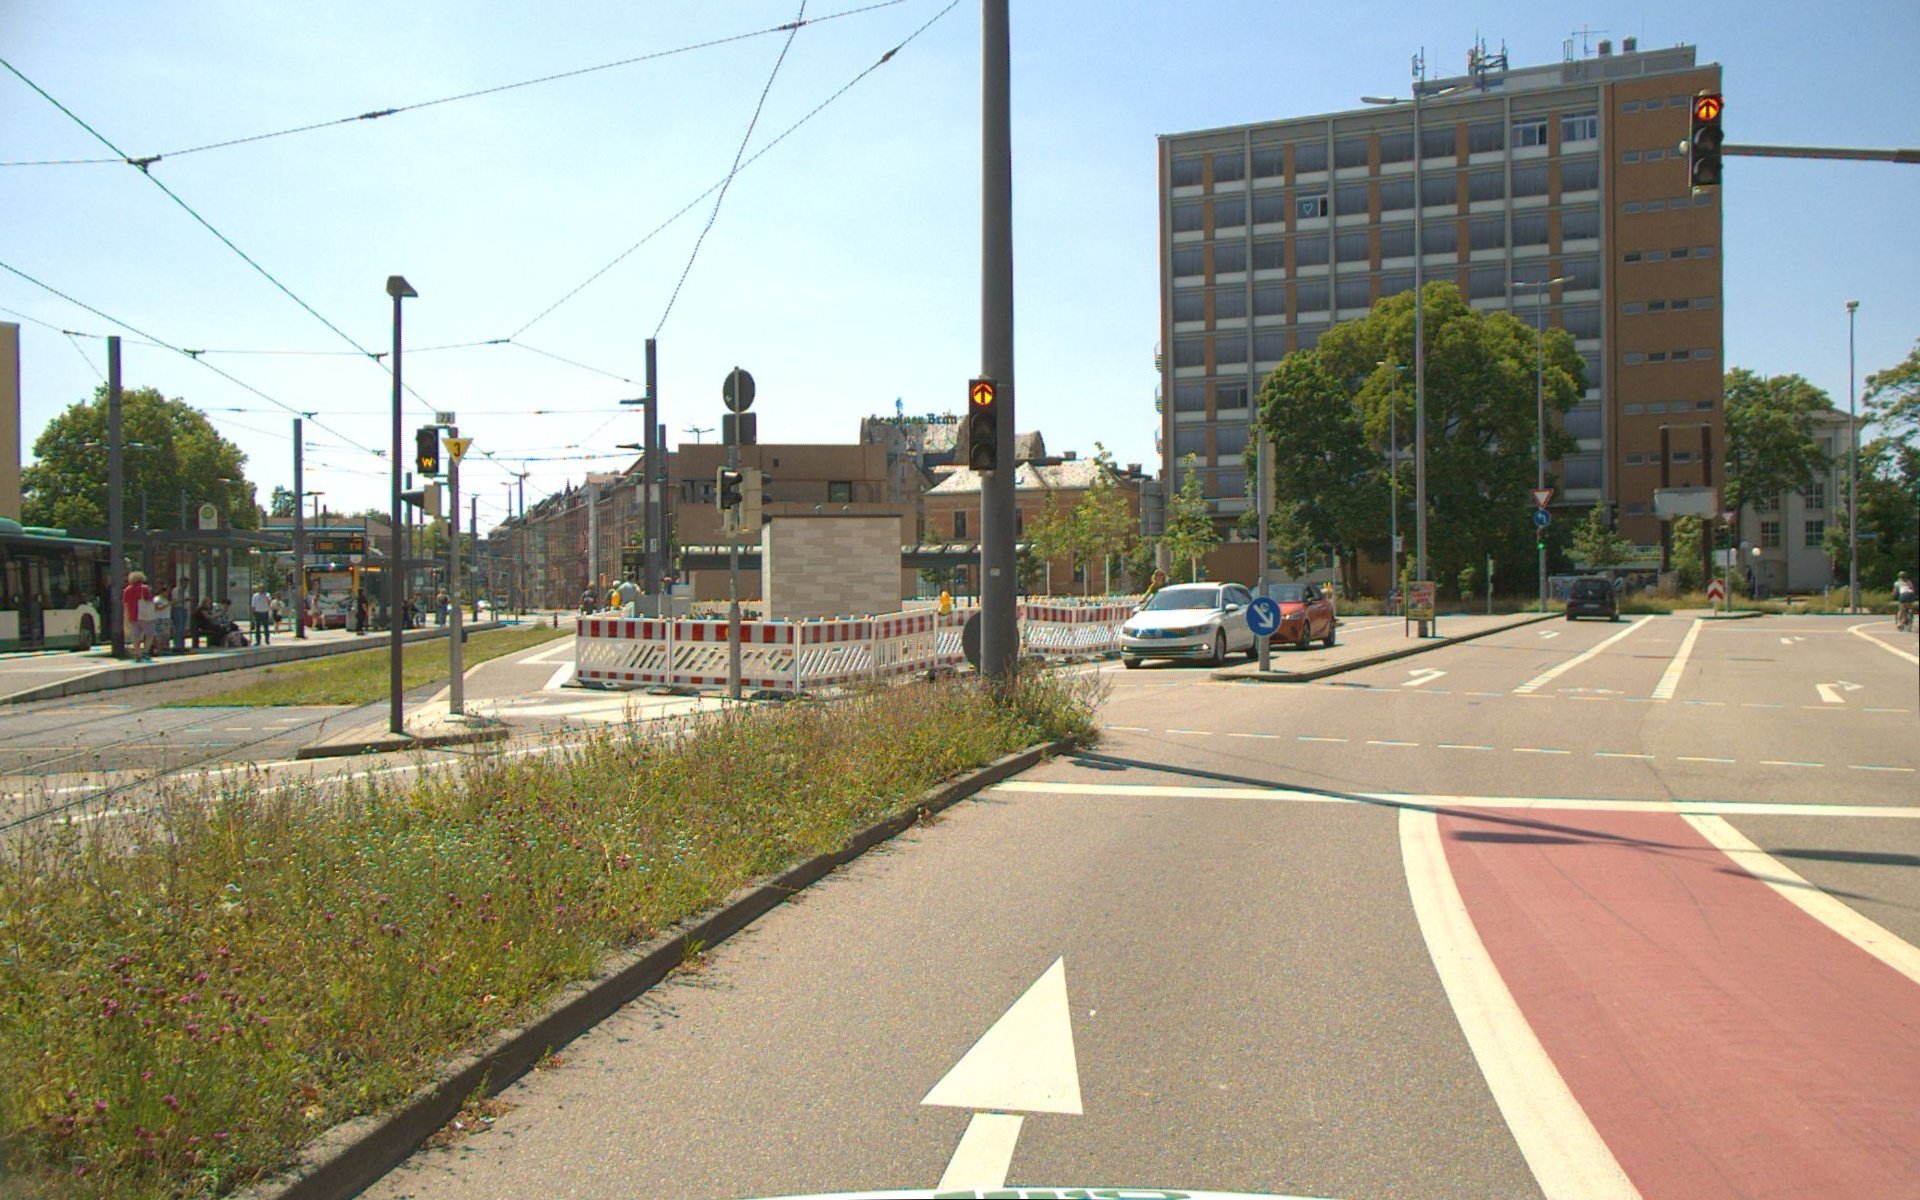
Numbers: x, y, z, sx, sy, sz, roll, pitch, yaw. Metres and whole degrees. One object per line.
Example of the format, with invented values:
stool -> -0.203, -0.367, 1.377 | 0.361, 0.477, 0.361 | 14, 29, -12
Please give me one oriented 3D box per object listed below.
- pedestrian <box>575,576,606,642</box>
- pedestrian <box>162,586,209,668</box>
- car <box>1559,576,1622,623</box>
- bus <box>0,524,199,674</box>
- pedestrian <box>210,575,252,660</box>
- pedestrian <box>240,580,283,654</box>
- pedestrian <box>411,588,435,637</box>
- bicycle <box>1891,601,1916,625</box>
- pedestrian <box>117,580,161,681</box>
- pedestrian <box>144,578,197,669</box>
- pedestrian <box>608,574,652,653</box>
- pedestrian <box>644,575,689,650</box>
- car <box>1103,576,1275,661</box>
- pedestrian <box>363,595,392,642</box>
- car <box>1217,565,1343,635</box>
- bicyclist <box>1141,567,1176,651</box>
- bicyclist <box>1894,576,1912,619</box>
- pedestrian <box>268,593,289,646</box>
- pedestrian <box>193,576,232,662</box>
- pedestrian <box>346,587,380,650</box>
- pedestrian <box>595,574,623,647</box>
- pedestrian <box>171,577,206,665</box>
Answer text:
pedestrian -> -9.840, 0.236, 44.058 | 0.716, 1.736, 0.739 | 0, -1, -21
pedestrian -> -18.240, 0.627, 38.957 | 0.898, 1.884, 0.654 | -1, 0, -19
car -> 21.629, -0.019, 56.849 | 1.653, 1.553, 3.692 | 0, 1, 15
bus -> -22.724, -0.017, 40.128 | 2.954, 3.213, 17.462 | -1, 0, -9
pedestrian -> -18.699, 0.434, 42.452 | 0.886, 2.133, 0.826 | -1, 0, -21
pedestrian -> -20.378, 0.494, 48.255 | 0.881, 2.133, 0.831 | -1, 0, -5
pedestrian -> -23.483, 0.549, 72.333 | 0.814, 2.133, 0.900 | -1, 0, -10
bicycle -> 27.409, 0.365, 48.074 | 0.369, 0.657, 1.644 | -1, 0, 21
pedestrian -> -16.132, 0.593, 32.503 | 0.662, 1.943, 0.637 | -1, 0, -19
pedestrian -> -17.901, 0.524, 37.512 | 0.927, 2.025, 1.023 | -1, 0, -19
pedestrian -> -8.026, 0.325, 40.200 | 0.717, 1.897, 0.763 | -1, -1, 40
pedestrian -> -7.360, 0.308, 41.498 | 0.964, 1.864, 0.629 | -1, 0, -24
car -> 4.398, 0.333, 31.065 | 1.953, 1.463, 4.703 | -1, 0, 24
pedestrian -> -23.769, 0.753, 67.470 | 0.962, 1.867, 0.768 | -1, 0, -34
car -> 7.230, 0.004, 37.090 | 1.697, 1.450, 4.119 | -1, 0, 27
bicyclist -> 4.193, 0.178, 34.934 | 0.556, 1.749, 0.506 | 0, 1, 32
bicyclist -> 27.384, -0.070, 48.029 | 0.344, 1.249, 0.564 | -1, 0, 21
pedestrian -> -28.257, 0.799, 68.577 | 0.698, 2.148, 0.649 | -1, 0, -34
pedestrian -> -18.769, 0.463, 41.530 | 0.812, 2.133, 0.637 | -1, 0, -21
pedestrian -> -20.513, 0.632, 56.846 | 0.881, 2.133, 0.831 | -1, 0, -5
pedestrian -> -9.618, 0.295, 45.321 | 0.707, 1.957, 1.070 | 0, -1, -14
pedestrian -> -18.879, 0.505, 40.483 | 0.689, 2.133, 0.641 | -1, 0, -21
